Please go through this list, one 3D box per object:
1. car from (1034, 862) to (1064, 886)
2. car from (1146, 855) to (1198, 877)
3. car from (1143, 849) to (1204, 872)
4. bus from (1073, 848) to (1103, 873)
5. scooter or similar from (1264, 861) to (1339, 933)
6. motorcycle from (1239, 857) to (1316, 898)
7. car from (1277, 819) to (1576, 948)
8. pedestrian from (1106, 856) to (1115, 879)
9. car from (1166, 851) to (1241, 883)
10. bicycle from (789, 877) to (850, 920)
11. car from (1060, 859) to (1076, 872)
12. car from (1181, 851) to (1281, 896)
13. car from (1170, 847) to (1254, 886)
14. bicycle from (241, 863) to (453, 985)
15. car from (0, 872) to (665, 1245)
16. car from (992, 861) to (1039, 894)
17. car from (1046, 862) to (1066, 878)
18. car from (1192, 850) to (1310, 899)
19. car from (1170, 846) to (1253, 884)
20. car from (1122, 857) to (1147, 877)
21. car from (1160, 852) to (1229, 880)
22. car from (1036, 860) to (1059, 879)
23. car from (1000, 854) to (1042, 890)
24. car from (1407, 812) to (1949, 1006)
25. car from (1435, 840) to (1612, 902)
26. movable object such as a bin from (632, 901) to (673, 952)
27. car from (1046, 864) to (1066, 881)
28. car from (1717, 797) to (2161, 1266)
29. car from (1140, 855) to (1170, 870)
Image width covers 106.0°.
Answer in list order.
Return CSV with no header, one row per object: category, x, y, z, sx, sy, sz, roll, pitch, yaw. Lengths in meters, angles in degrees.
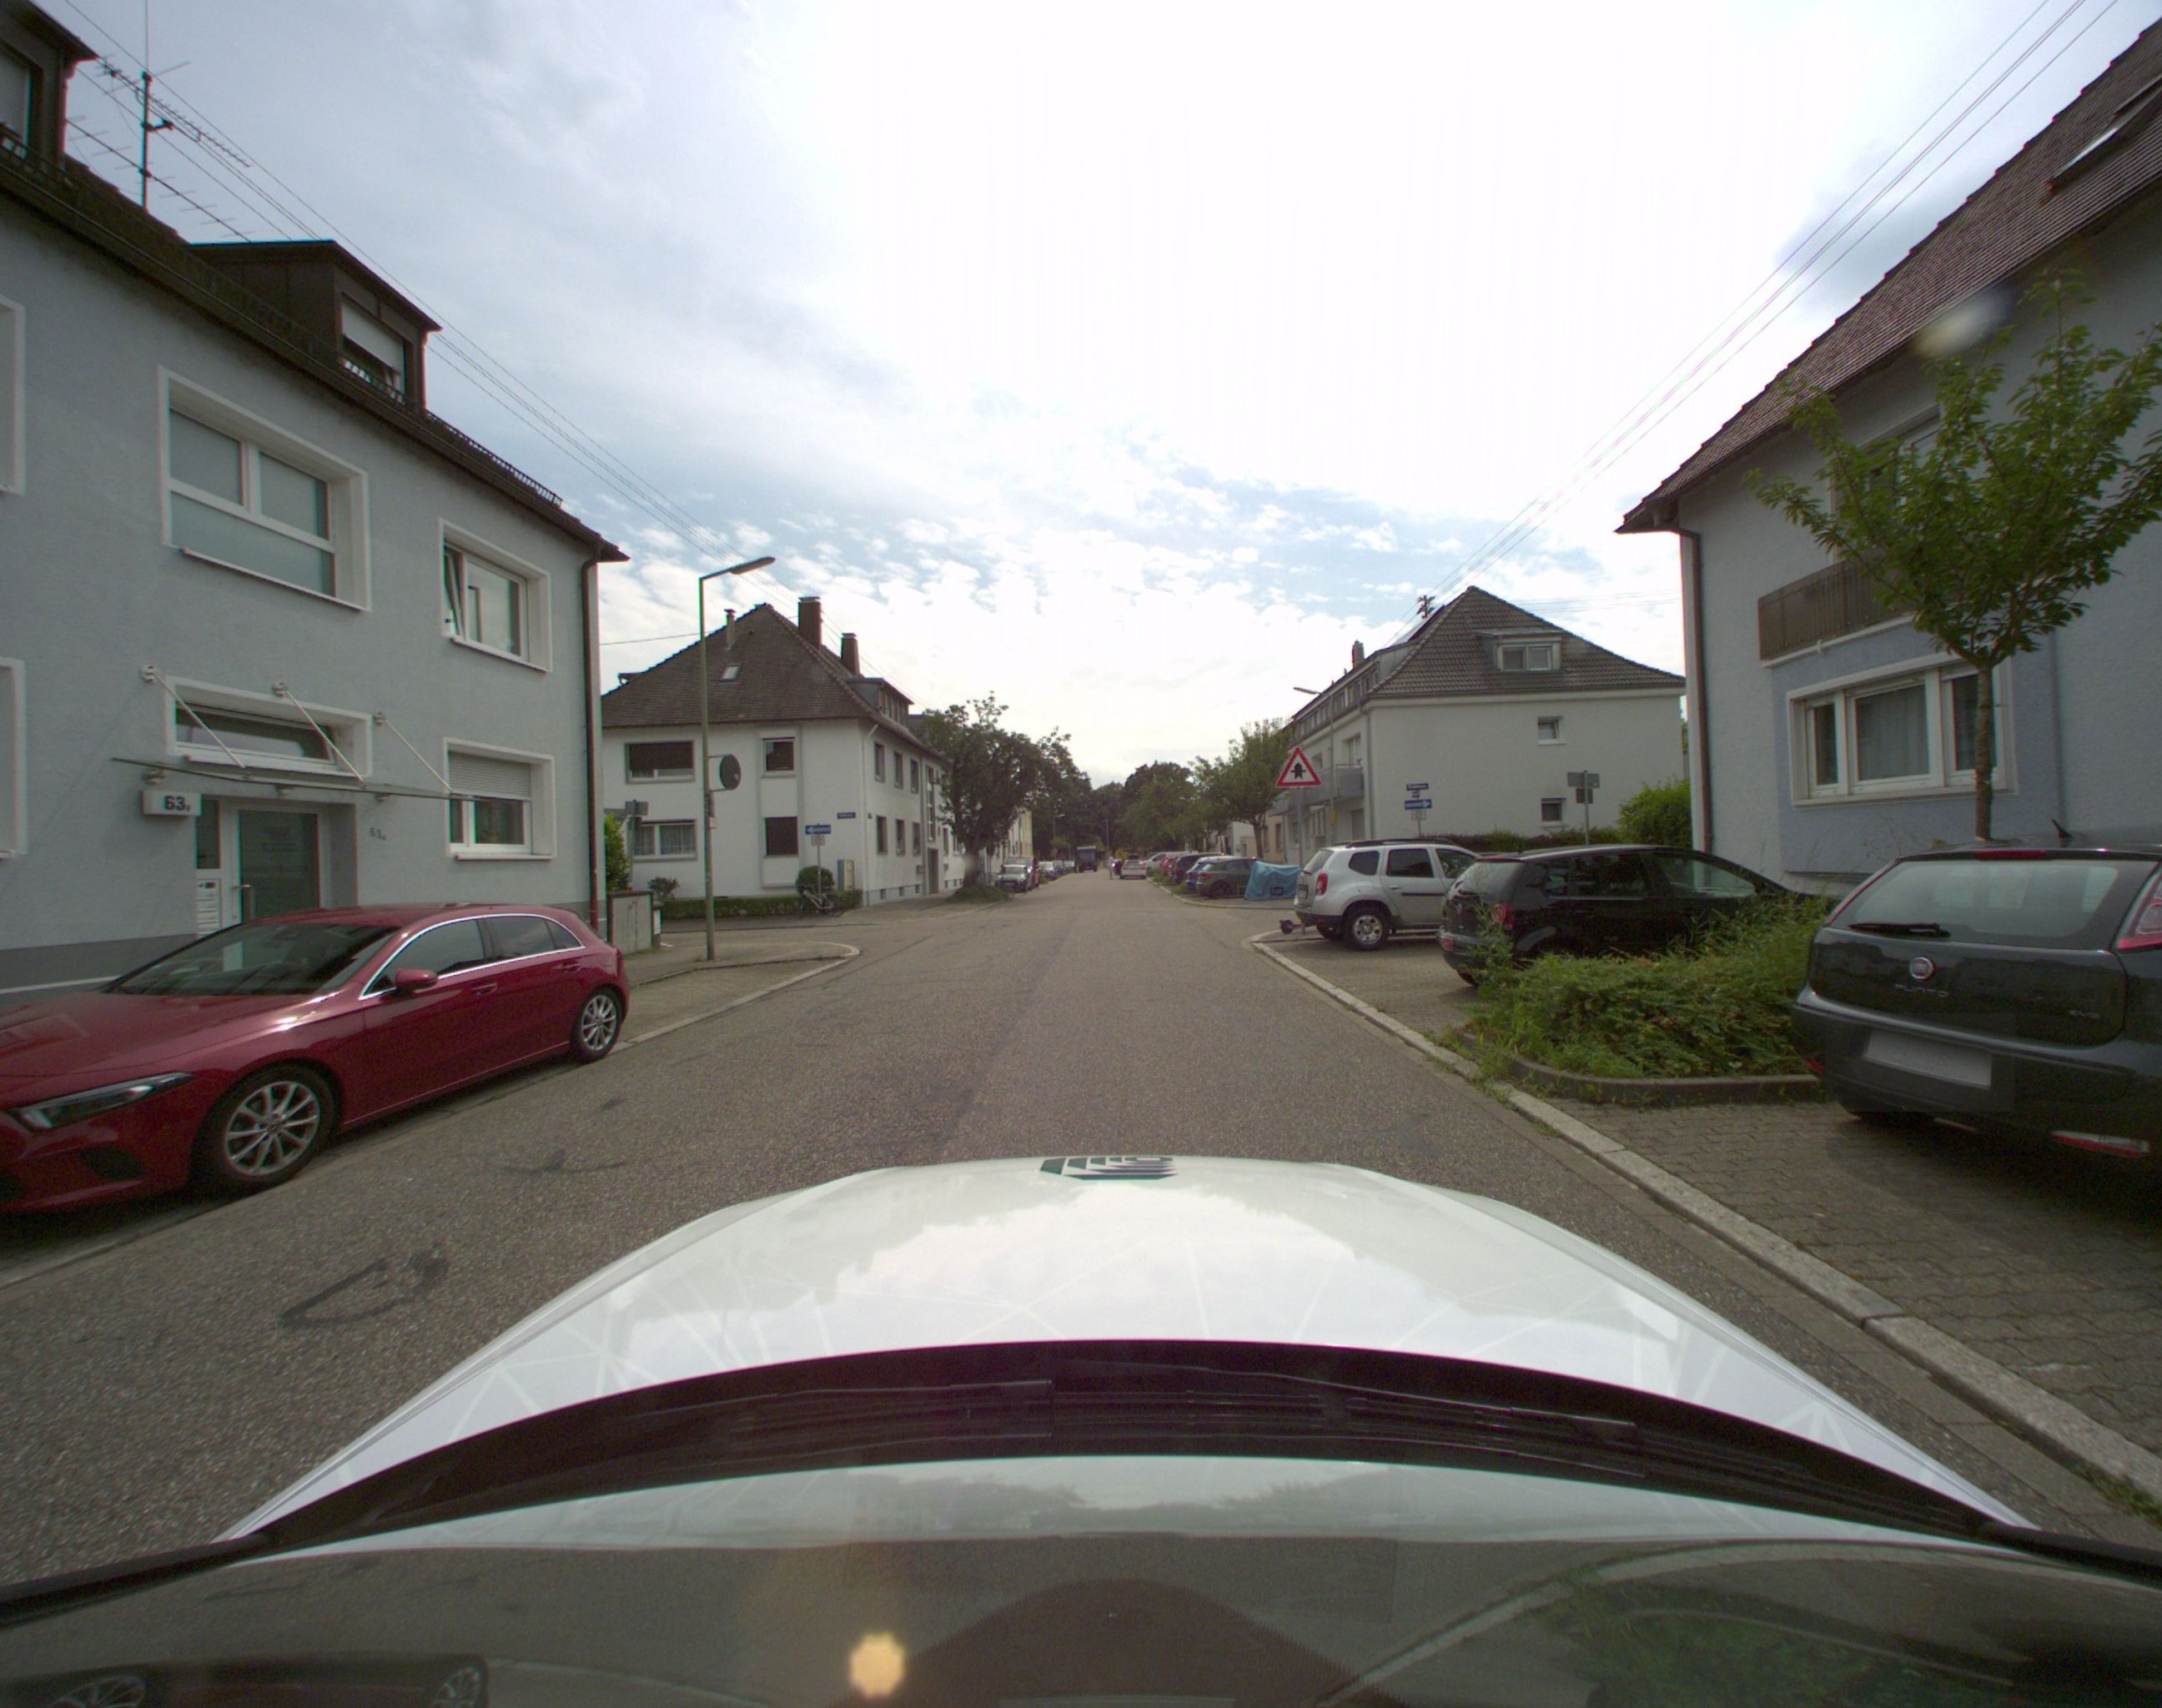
car,-2.127,1.330,55.171,1.645,1.461,3.553,-4,-1,2
car,7.405,0.981,66.595,3.972,1.518,1.723,-4,-1,2
car,7.793,0.535,68.881,4.958,1.518,1.768,-4,-1,0
bus,0.911,0.791,100.548,2.991,2.761,8.932,-4,-1,3
scooter or similar,4.168,0.796,15.421,1.239,1.243,0.420,-4,-1,-11
motorcycle,6.269,0.741,26.092,2.186,1.210,0.940,-2,-1,0
car,5.365,0.449,13.035,3.911,1.633,1.867,-4,-1,0
pedestrian,2.172,0.999,60.021,0.519,1.704,0.445,-4,-1,6
car,6.998,0.741,46.756,3.972,1.518,1.723,-4,-1,2
bicycle,-7.991,1.346,24.926,1.629,1.179,0.435,-4,-1,-2
car,-1.580,1.377,99.981,1.614,1.502,4.004,-4,-1,3
car,5.679,0.739,31.180,3.504,1.412,1.559,-4,-1,2
car,6.198,0.592,38.907,3.732,1.564,1.774,-4,-1,3
bicycle,-7.838,0.688,8.833,0.489,1.153,1.874,2,0,2
car,-5.146,0.976,5.733,1.870,1.486,4.515,-4,-1,2
car,-3.491,1.236,43.765,1.755,1.554,3.736,-4,-1,6
car,-2.416,1.537,80.372,1.645,1.377,3.723,-4,-1,2
car,5.878,0.698,28.509,3.732,1.365,1.774,-4,-1,3
car,6.680,0.552,41.909,3.971,1.618,1.868,-4,-1,3
car,3.991,0.954,60.604,1.680,1.354,3.830,-4,-1,4
car,6.904,0.735,49.984,3.972,1.438,1.723,-4,-1,2
car,-2.703,1.271,66.783,1.646,1.377,3.721,-4,-1,0
car,-3.552,1.051,48.997,1.986,2.013,4.522,-2,-1,2
car,5.566,0.495,8.013,3.971,1.421,1.713,-4,-1,2
car,11.746,0.454,21.818,3.787,1.443,1.664,-2,-1,2
movable object such as a bin,-8.327,1.402,15.840,0.485,0.907,0.475,-4,-1,-4
car,-2.177,1.625,71.829,1.534,1.301,3.721,-4,-1,0
car,5.448,0.465,3.495,3.971,1.508,1.713,-4,-1,2
car,8.881,1.020,97.910,3.515,1.602,1.774,-4,-1,3
